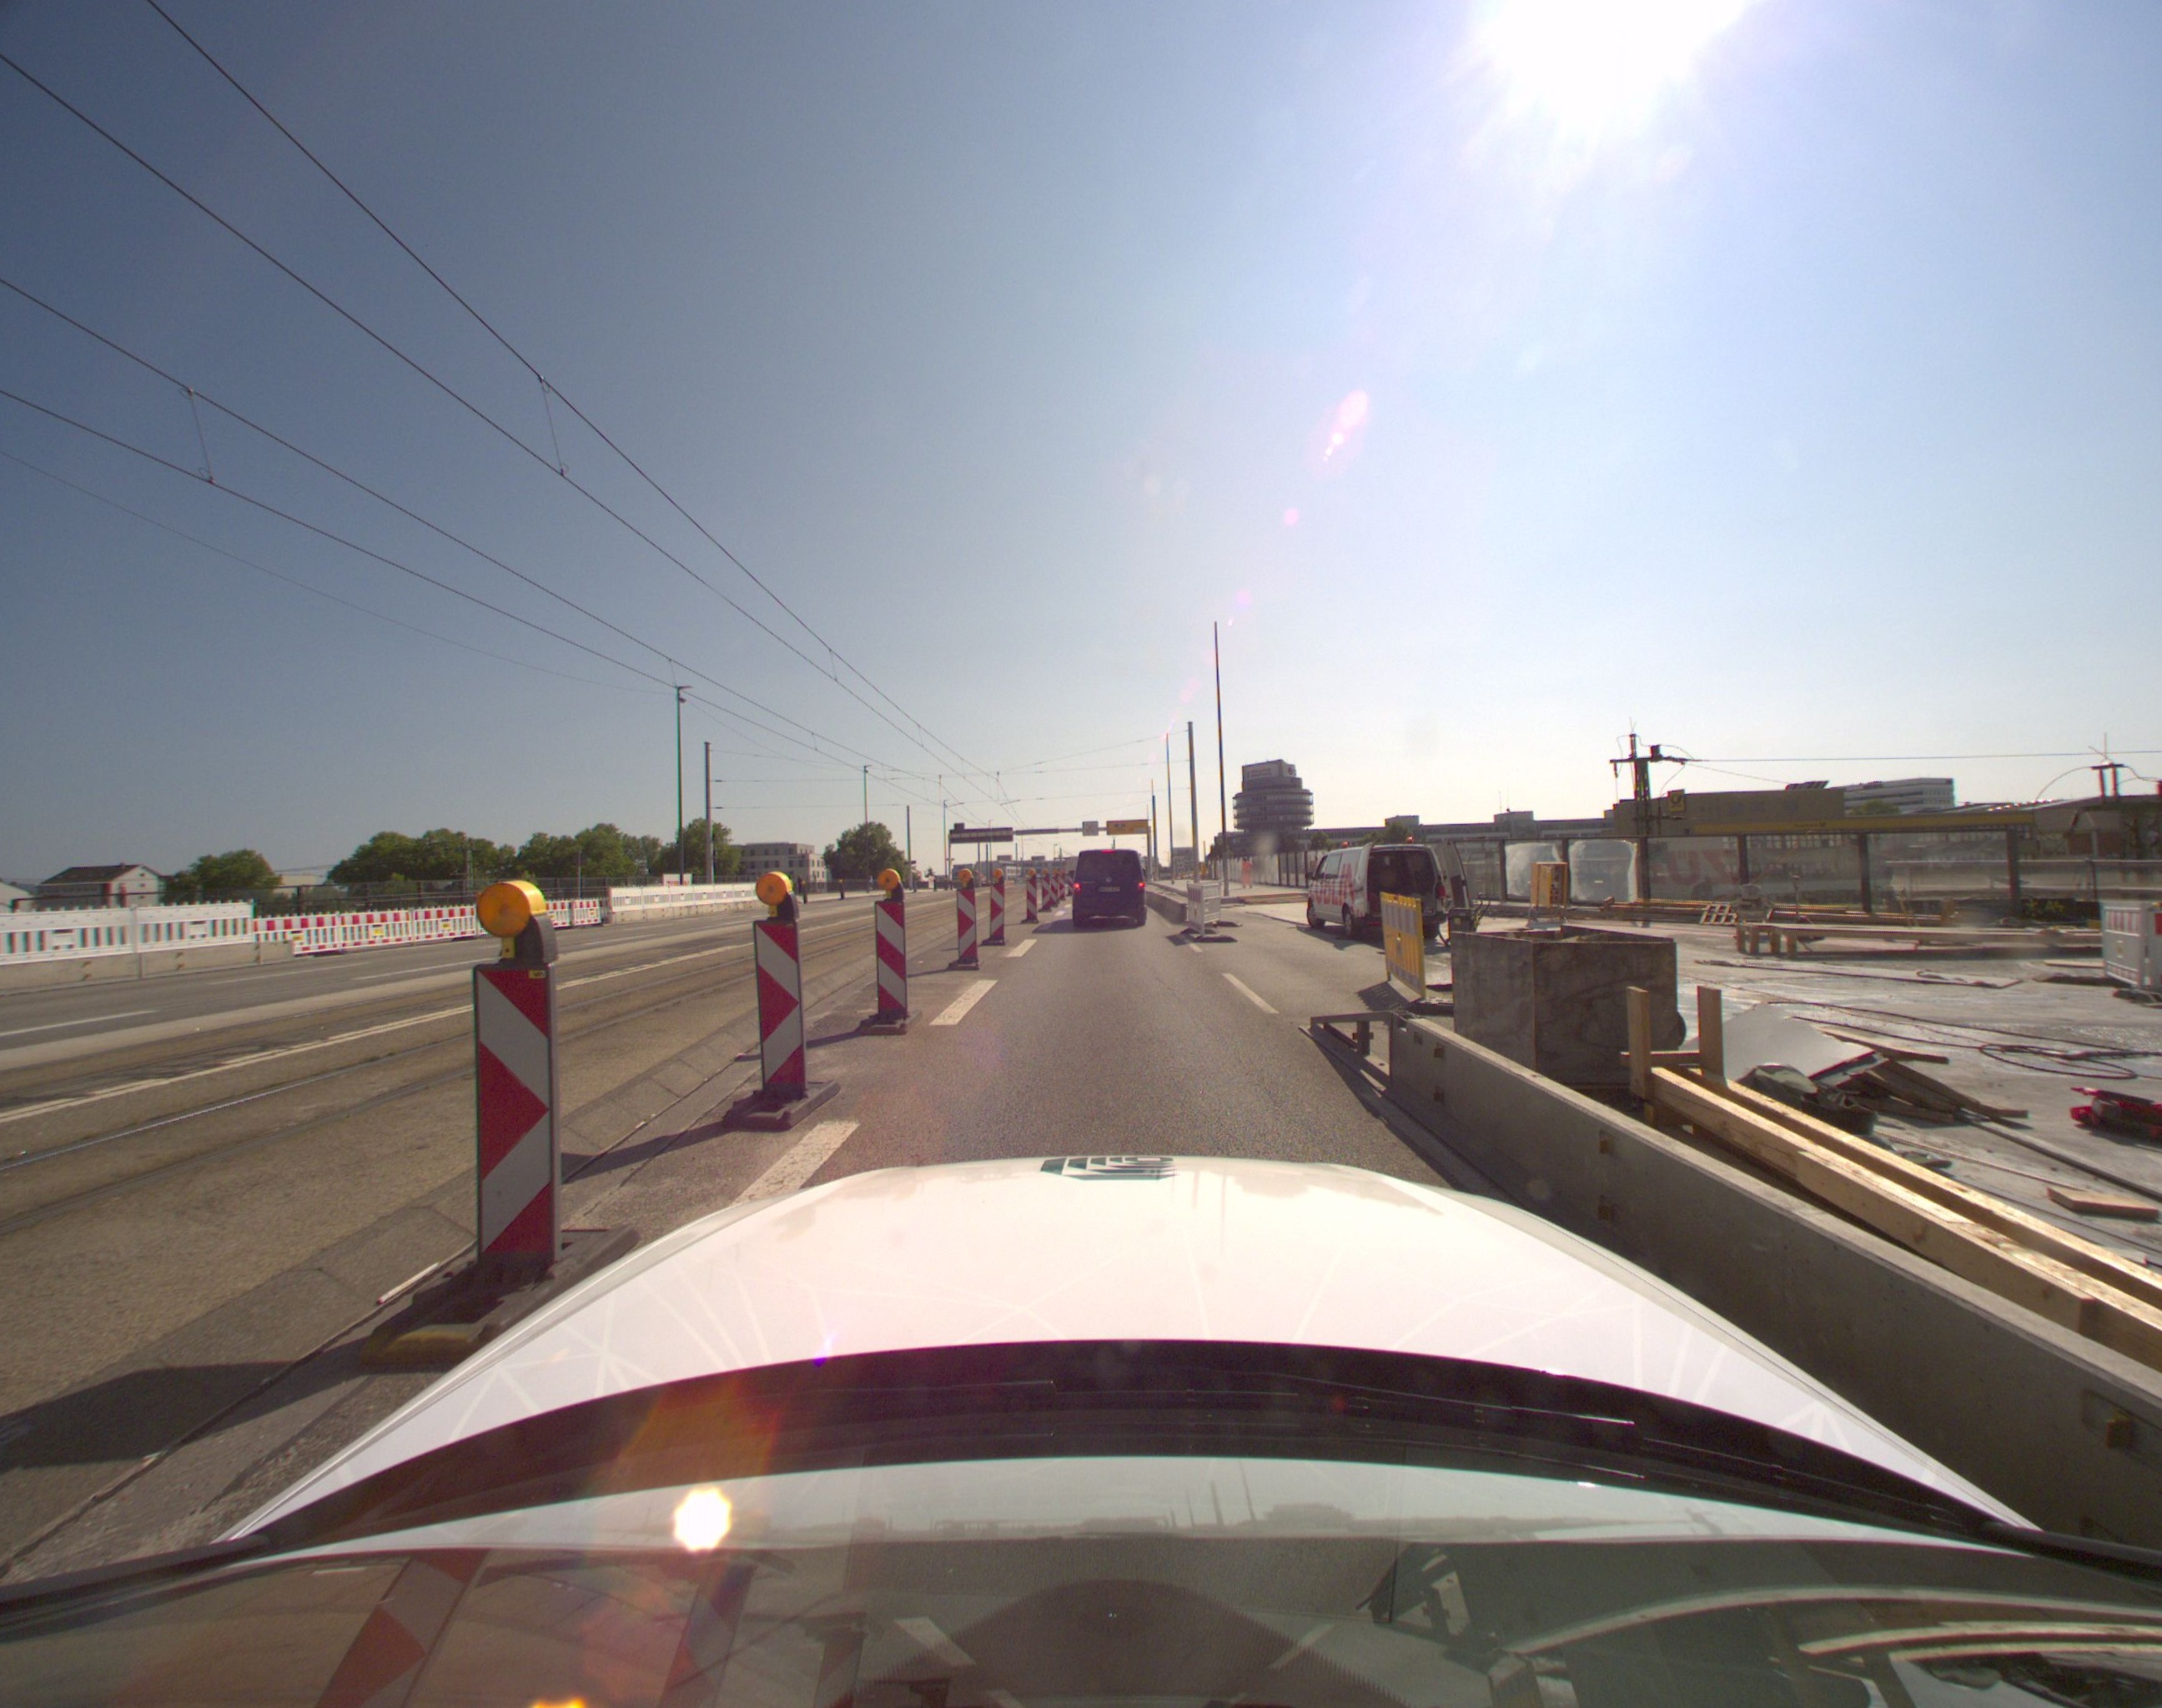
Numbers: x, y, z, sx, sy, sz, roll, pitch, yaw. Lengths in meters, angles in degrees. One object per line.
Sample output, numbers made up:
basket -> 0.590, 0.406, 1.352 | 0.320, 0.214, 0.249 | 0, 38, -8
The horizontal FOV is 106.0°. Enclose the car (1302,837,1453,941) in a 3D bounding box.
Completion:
car -> 6.552, 0.749, 18.622 | 1.871, 2.033, 4.894 | -1, -1, 3

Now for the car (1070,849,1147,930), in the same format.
car -> 0.735, 0.891, 21.929 | 1.809, 1.906, 4.056 | -2, -1, 2

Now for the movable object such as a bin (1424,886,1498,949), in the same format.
movable object such as a bin -> 6.936, 1.141, 14.882 | 0.896, 1.074, 0.931 | 0, -2, -42

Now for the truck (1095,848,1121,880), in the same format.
truck -> 2.918, 1.093, 87.809 | 2.451, 3.135, 11.219 | -2, -1, 2

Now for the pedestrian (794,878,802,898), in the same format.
pedestrian -> -23.780, 2.837, 68.465 | 0.493, 1.695, 0.474 | -1, -2, 1

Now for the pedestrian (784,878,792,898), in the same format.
pedestrian -> -24.644, 2.874, 68.485 | 0.493, 1.695, 0.474 | -1, -2, 1

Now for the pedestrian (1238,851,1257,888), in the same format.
pedestrian -> 9.088, 0.858, 44.590 | 0.779, 1.935, 0.799 | -3, -2, 1

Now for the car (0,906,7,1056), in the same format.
car -> -11.609, 1.293, 6.093 | 1.500, 1.500, 4.178 | -4, -1, 1

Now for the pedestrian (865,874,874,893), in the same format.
pedestrian -> -21.588, 2.985, 83.083 | 0.631, 1.894, 0.752 | -1, -1, 1
